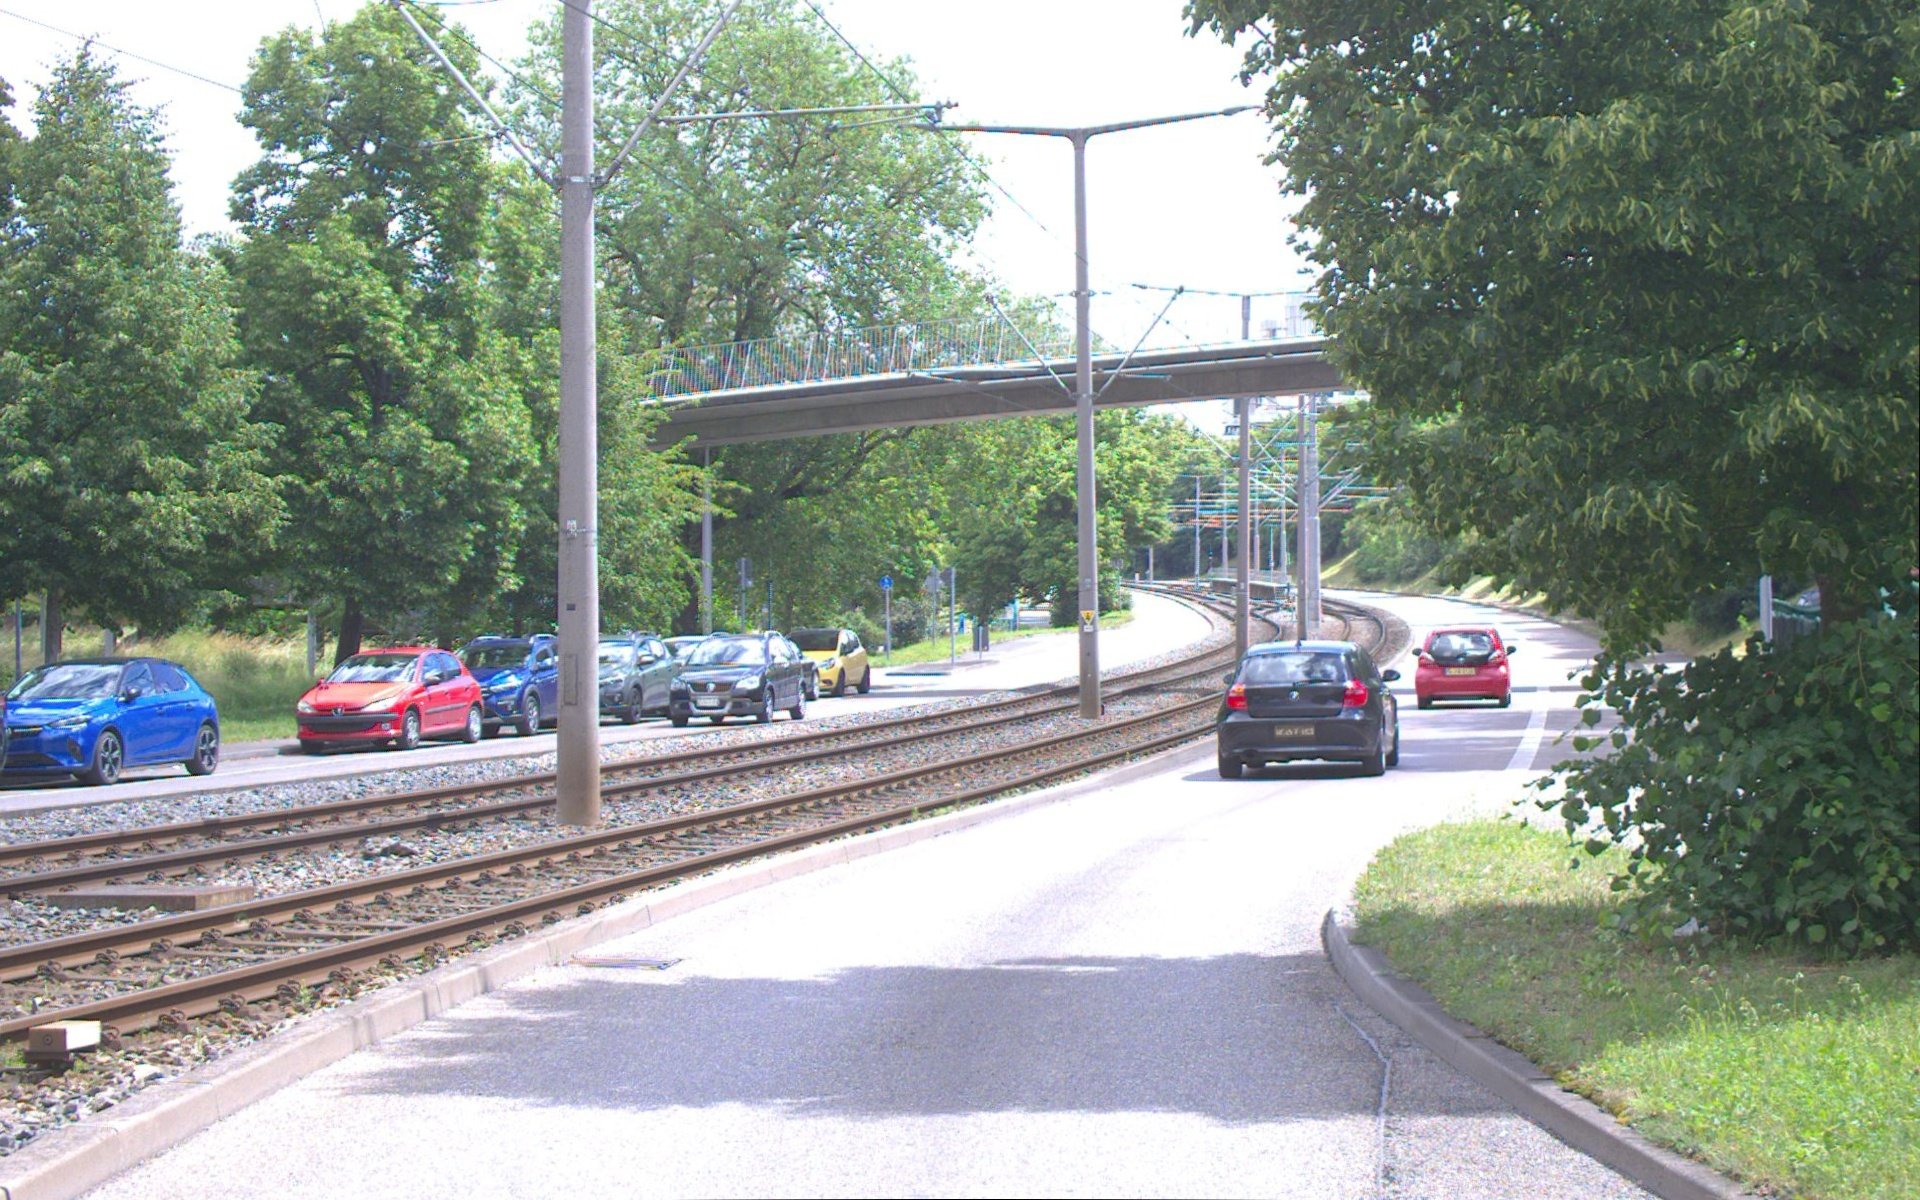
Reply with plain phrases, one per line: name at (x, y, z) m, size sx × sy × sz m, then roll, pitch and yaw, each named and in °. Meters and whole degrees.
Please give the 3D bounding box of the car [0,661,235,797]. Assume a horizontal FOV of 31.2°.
car at (-9.919, 1.482, 39.459) m, size 1.614 × 1.456 × 4.005 m, roll 1°, pitch -2°, yaw 12°

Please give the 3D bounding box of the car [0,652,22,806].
car at (-11.090, 1.250, 34.085) m, size 1.581 × 1.600 × 4.371 m, roll 1°, pitch -2°, yaw 12°

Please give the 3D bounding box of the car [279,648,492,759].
car at (-8.187, 1.504, 49.337) m, size 1.614 × 1.489 × 4.045 m, roll 1°, pitch -2°, yaw 12°

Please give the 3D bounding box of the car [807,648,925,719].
car at (-2.036, 1.840, 75.237) m, size 1.690 × 1.445 × 3.896 m, roll 1°, pitch -2°, yaw 12°

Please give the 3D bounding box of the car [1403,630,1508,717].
car at (8.809, 1.325, 60.960) m, size 1.625 × 1.439 × 3.419 m, roll 1°, pitch -2°, yaw 12°

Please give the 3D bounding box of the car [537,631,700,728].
car at (-5.894, 1.363, 59.769) m, size 1.643 × 1.617 × 4.123 m, roll -1°, pitch -1°, yaw 12°

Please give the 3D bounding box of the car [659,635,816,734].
car at (-3.685, 1.438, 57.593) m, size 1.614 × 1.569 × 3.997 m, roll 1°, pitch -2°, yaw 11°

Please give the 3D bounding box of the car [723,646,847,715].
car at (-3.540, 1.637, 70.197) m, size 1.512 × 1.356 × 4.126 m, roll -1°, pitch -1°, yaw 12°

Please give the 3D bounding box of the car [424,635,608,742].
car at (-6.954, 1.425, 54.216) m, size 1.558 × 1.591 × 4.157 m, roll 1°, pitch -2°, yaw 12°

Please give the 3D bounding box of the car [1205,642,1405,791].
car at (3.737, 1.209, 36.734) m, size 1.709 × 1.455 × 3.958 m, roll 1°, pitch -1°, yaw 11°
